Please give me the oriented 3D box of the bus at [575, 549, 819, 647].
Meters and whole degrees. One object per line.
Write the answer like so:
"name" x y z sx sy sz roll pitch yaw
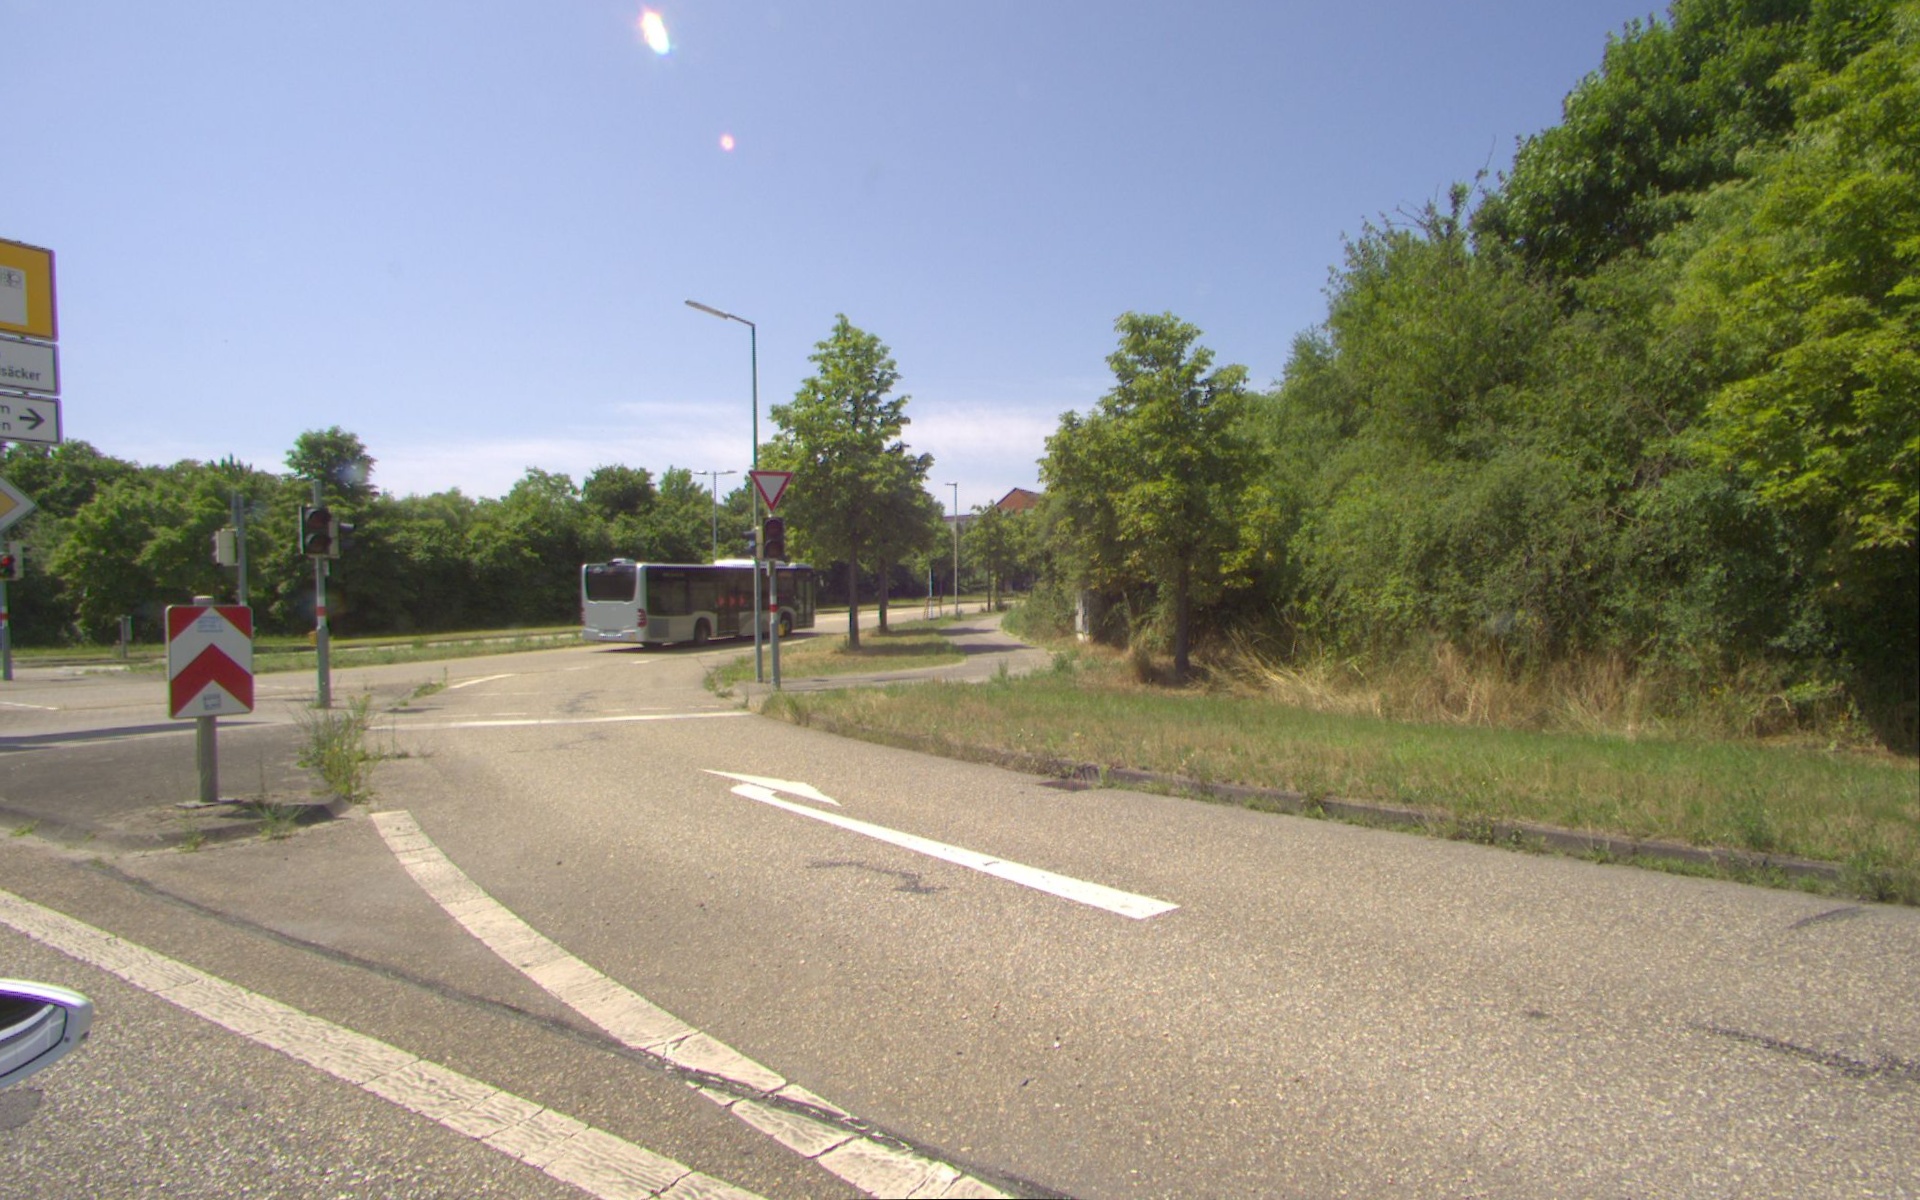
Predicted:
"bus" -9.337 -0.056 38.010 2.585 3.127 12.055 0 0 20
